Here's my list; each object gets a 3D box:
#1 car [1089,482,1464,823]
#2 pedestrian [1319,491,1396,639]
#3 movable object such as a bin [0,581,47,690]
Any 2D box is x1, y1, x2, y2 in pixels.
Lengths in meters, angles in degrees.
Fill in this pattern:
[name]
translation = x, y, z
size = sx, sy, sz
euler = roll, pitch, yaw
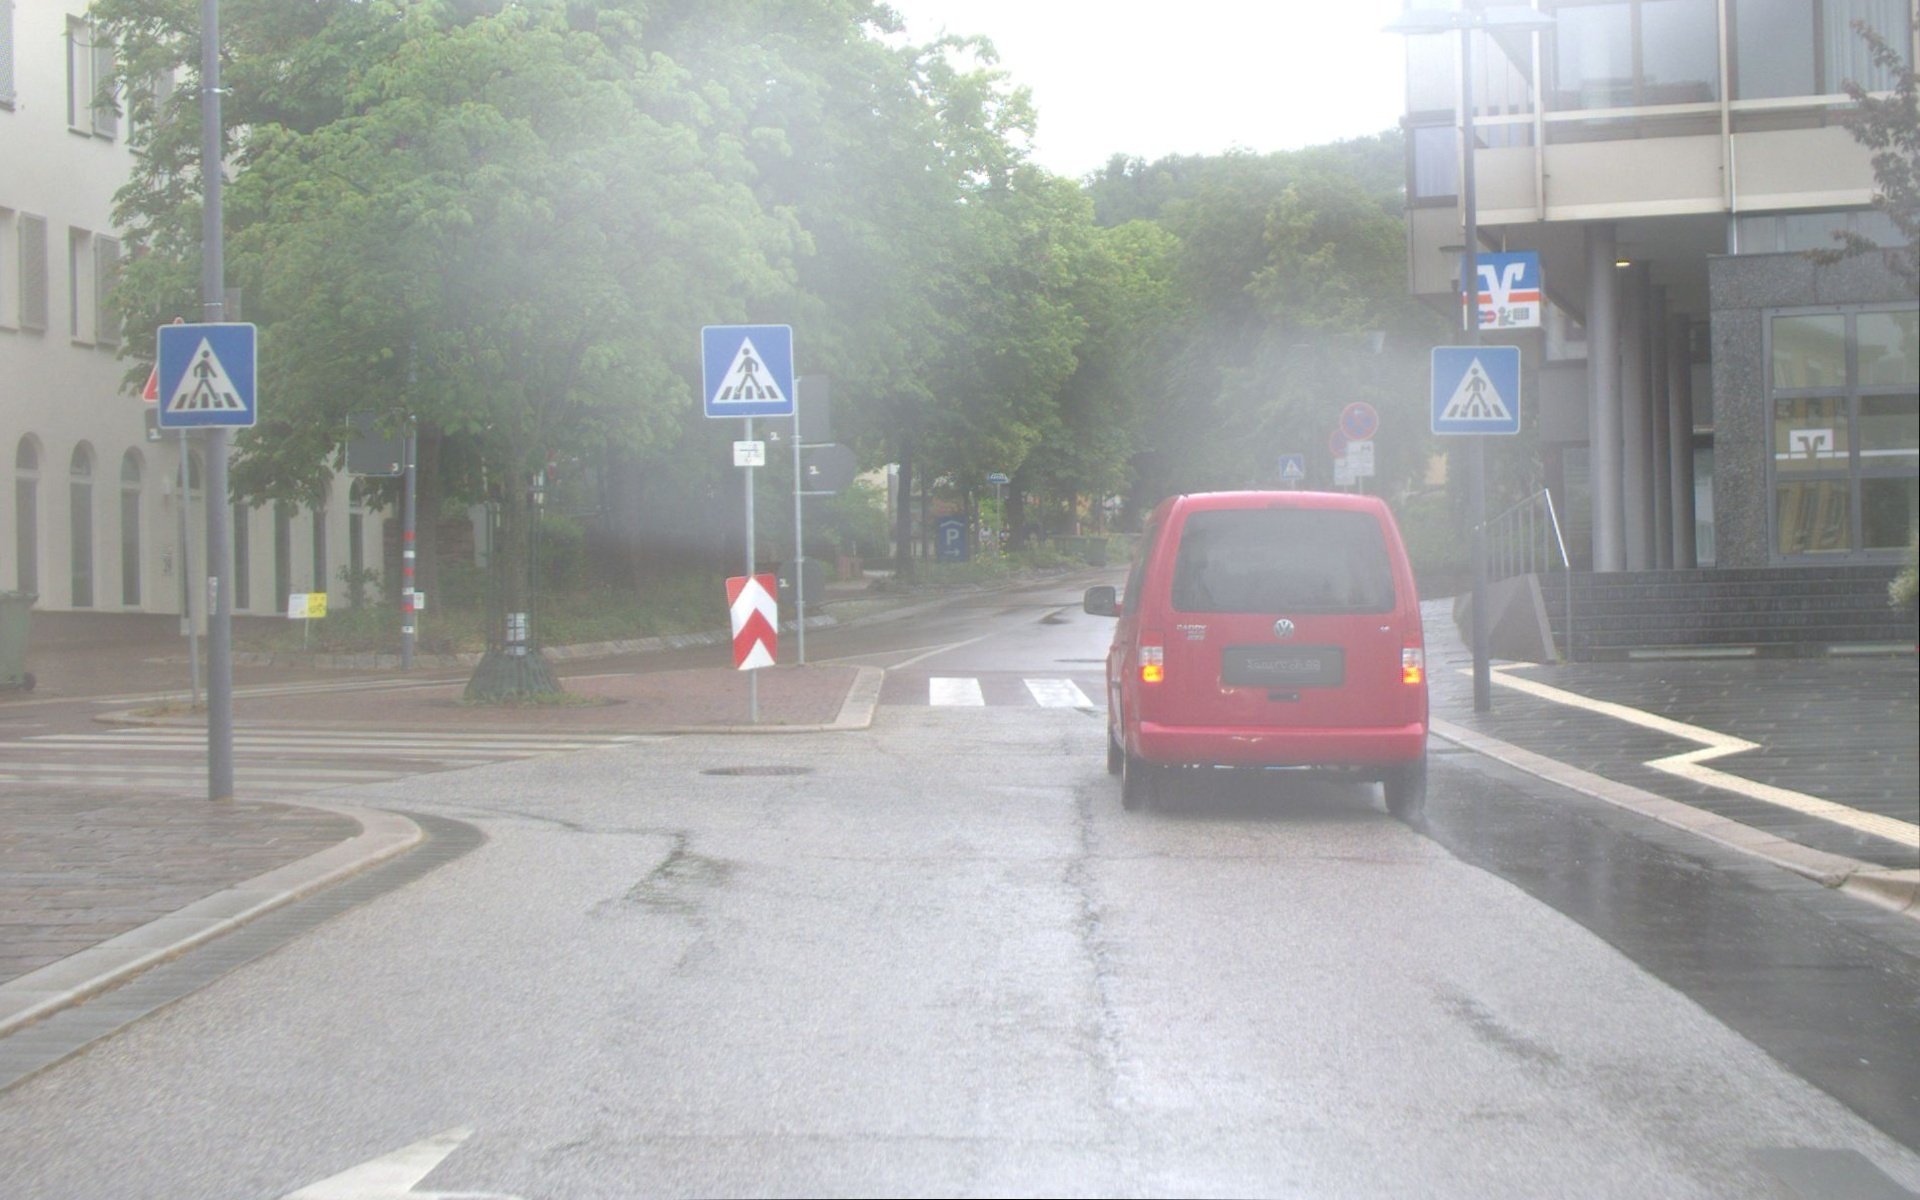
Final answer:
[car]
translation = 1.804, 0.275, 20.847
size = 1.862, 1.824, 4.185
euler = -1, 0, 0
[pedestrian]
translation = 5.009, -0.431, 43.289
size = 0.835, 1.824, 0.815
euler = -2, -1, 11
[movable object such as a bin]
translation = -10.137, 0.377, 36.211
size = 0.738, 1.120, 0.649
euler = -2, 0, 16
